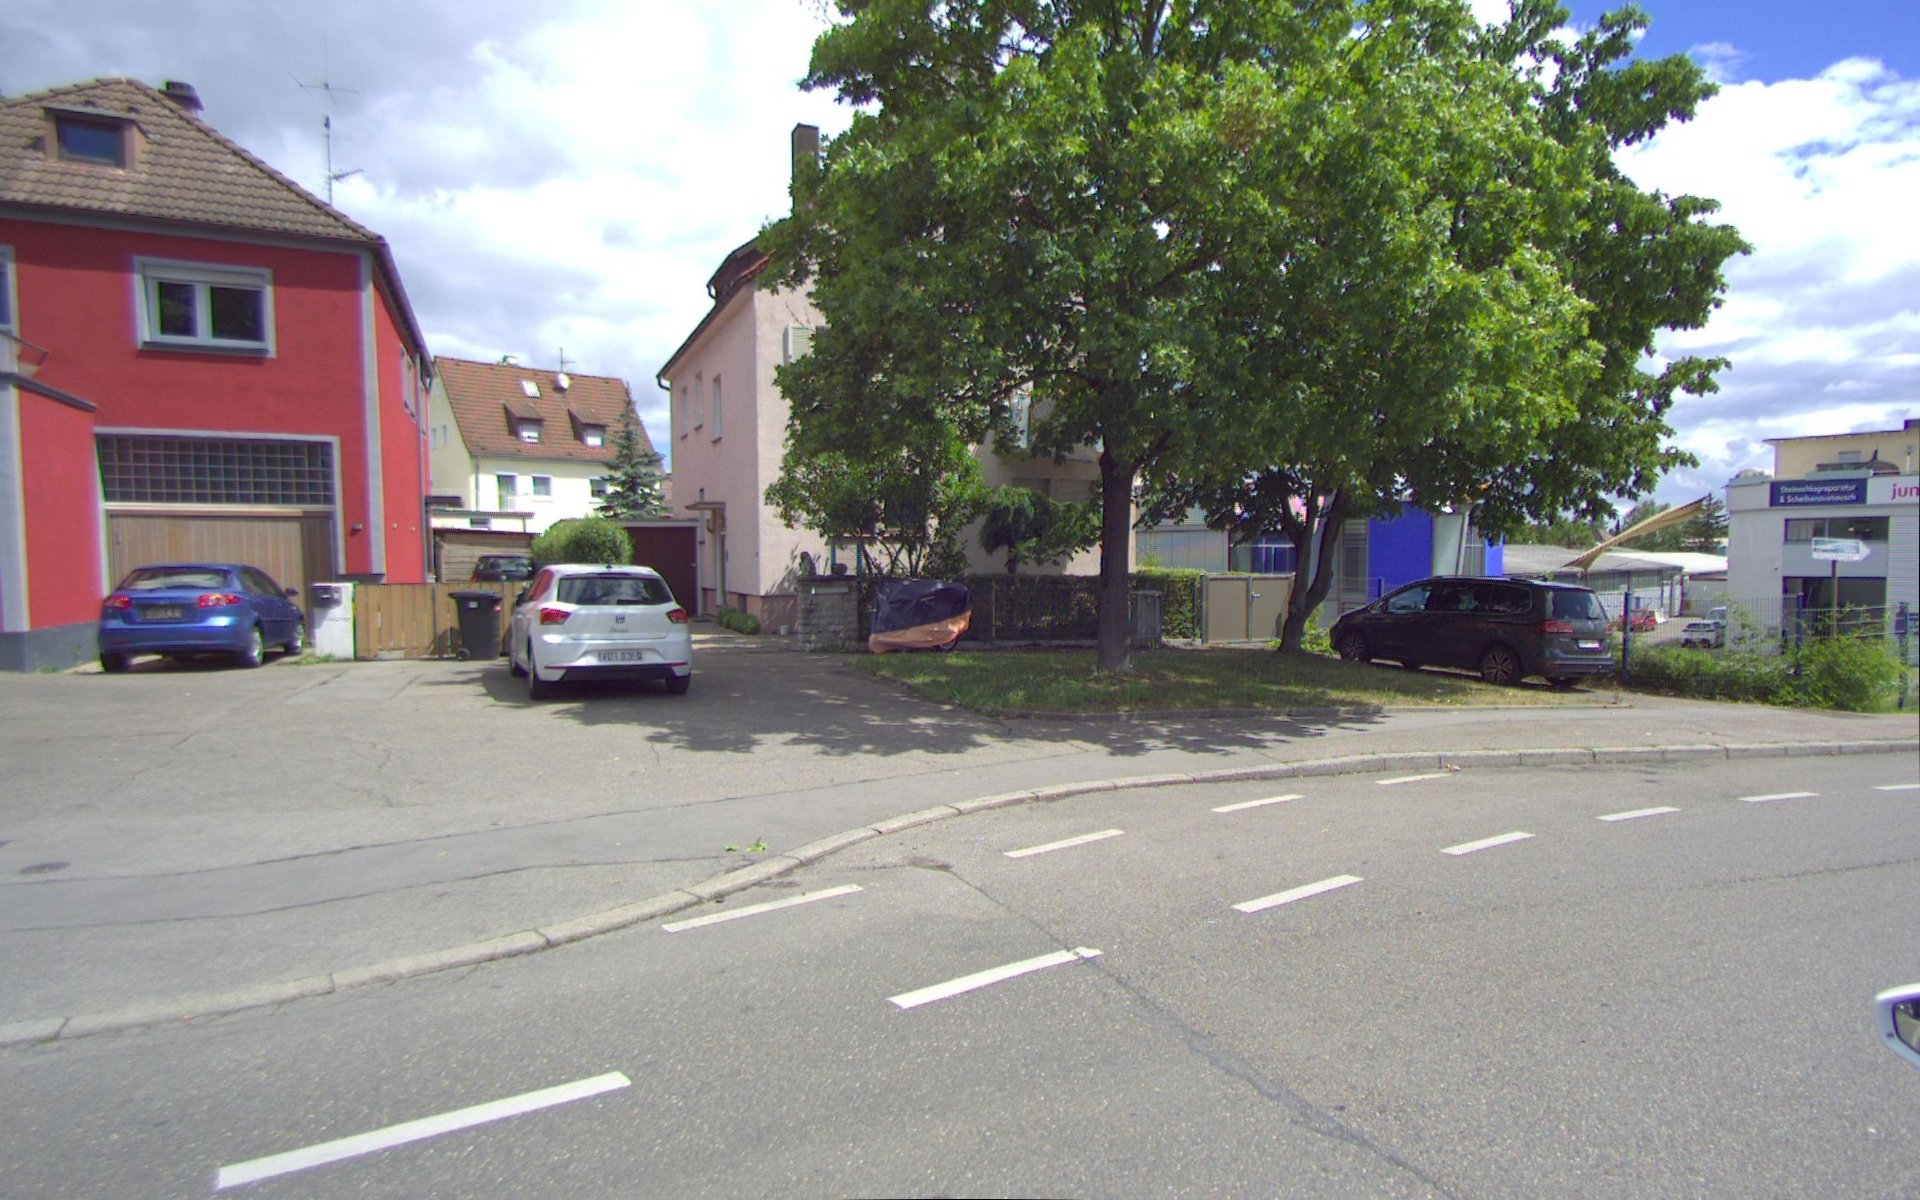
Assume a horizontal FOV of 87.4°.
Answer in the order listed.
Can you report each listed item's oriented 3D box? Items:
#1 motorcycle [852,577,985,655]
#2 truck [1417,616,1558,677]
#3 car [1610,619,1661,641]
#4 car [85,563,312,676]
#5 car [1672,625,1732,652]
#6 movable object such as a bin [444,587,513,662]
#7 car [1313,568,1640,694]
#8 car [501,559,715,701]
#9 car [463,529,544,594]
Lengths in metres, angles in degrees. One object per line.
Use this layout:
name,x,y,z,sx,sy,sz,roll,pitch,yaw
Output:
motorcycle,-0.754,0.300,18.339,2.207,1.333,0.914,1,2,-27
truck,25.739,2.210,49.241,2.158,2.742,5.737,2,-1,-38
car,46.510,2.045,69.085,3.970,1.372,1.975,2,1,-42
car,-10.756,0.213,14.508,1.818,1.396,3.790,0,1,-25
car,42.280,2.188,57.186,3.970,1.372,1.975,2,1,-42
movable object such as a bin,-7.314,0.367,15.300,0.867,1.076,0.754,1,2,-22
car,8.597,0.425,17.255,1.974,1.739,4.682,3,1,-26
car,-4.418,0.270,12.208,1.853,1.423,3.902,1,1,-28
car,-11.151,-0.912,24.726,1.636,1.423,3.910,1,1,-22
